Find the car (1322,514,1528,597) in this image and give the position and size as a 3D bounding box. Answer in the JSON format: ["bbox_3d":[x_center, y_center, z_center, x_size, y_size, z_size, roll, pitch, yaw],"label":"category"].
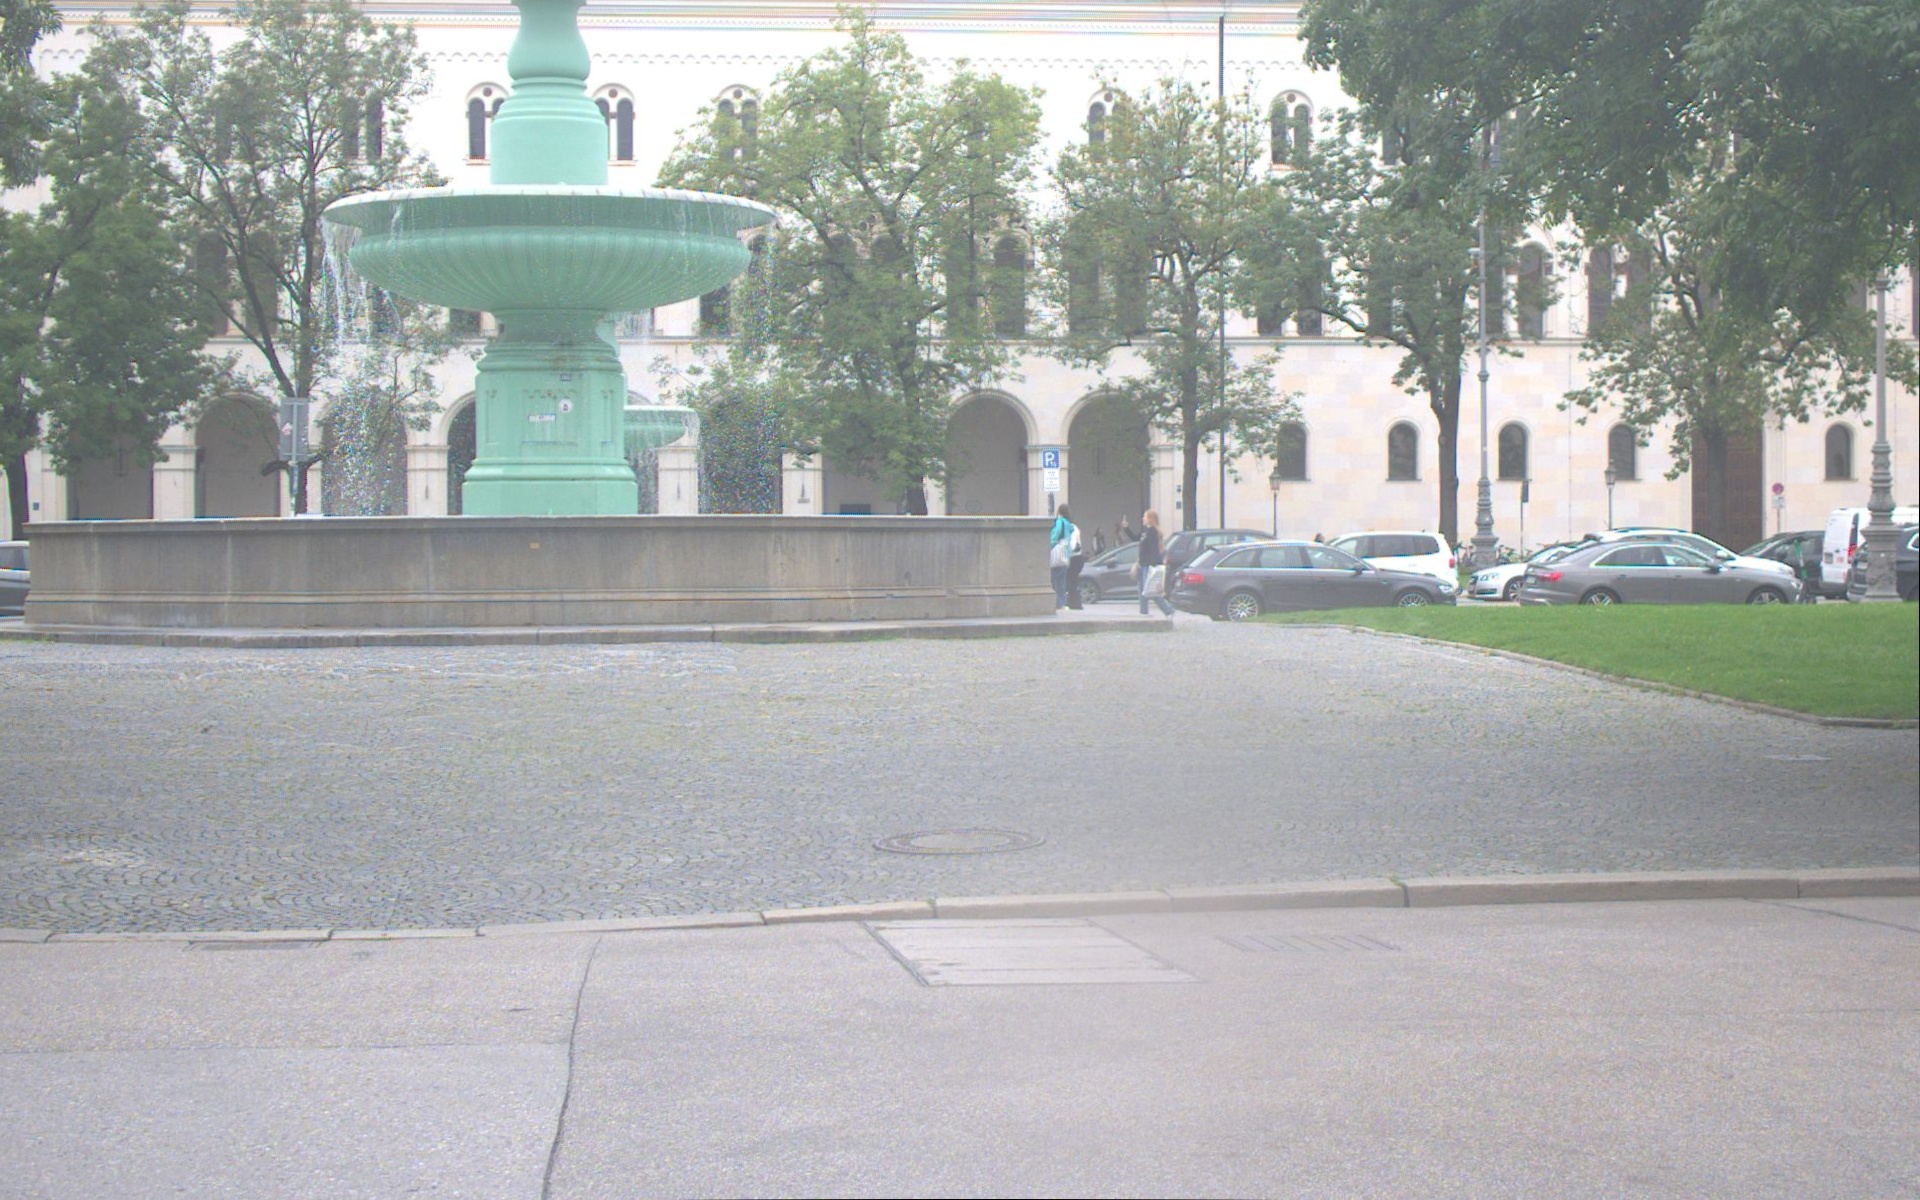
[{"bbox_3d":[10.142,-0.976,75.102,4.096,1.735,1.747,1,1,-8],"label":"car"}]

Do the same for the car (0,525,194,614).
[{"bbox_3d":[-14.352,-0.499,54.779,3.986,1.371,2.001,0,2,-6],"label":"car"}]

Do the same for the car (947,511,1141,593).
[{"bbox_3d":[1.800,-1.052,74.540,3.986,1.744,1.809,0,1,-6],"label":"car"}]

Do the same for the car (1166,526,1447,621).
[{"bbox_3d":[5.660,-0.452,56.450,4.357,1.519,1.804,0,2,-4],"label":"car"}]

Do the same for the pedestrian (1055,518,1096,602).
[{"bbox_3d":[1.676,-0.585,49.837,0.443,1.210,0.535,0,1,21],"label":"pedestrian"}]

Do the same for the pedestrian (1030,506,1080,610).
[{"bbox_3d":[1.350,-0.603,48.868,0.582,1.460,0.547,0,1,18],"label":"pedestrian"}]

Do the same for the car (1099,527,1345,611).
[{"bbox_3d":[4.834,-0.583,63.839,4.357,1.519,1.804,0,2,-4],"label":"car"}]

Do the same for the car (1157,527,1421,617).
[{"bbox_3d":[5.710,-0.505,59.941,4.357,1.519,1.804,0,2,-4],"label":"car"}]

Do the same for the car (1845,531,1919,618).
[{"bbox_3d":[17.187,-0.436,57.293,4.357,1.413,1.804,0,2,-4],"label":"car"}]

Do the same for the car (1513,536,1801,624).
[{"bbox_3d":[11.534,-0.345,57.053,4.357,1.413,1.804,0,2,-4],"label":"car"}]

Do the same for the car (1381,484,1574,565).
[{"bbox_3d":[11.881,-1.735,79.053,3.986,1.777,1.932,1,1,-7],"label":"car"}]

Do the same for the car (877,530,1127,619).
[{"bbox_3d":[0.658,-0.425,56.485,3.986,1.398,1.825,-1,1,-3],"label":"car"}]

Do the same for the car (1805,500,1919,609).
[{"bbox_3d":[18.378,-0.845,64.912,4.326,2.007,1.824,1,1,-2],"label":"car"}]

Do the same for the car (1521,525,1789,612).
[{"bbox_3d":[12.375,-0.571,61.340,4.357,1.519,1.804,0,2,-4],"label":"car"}]
